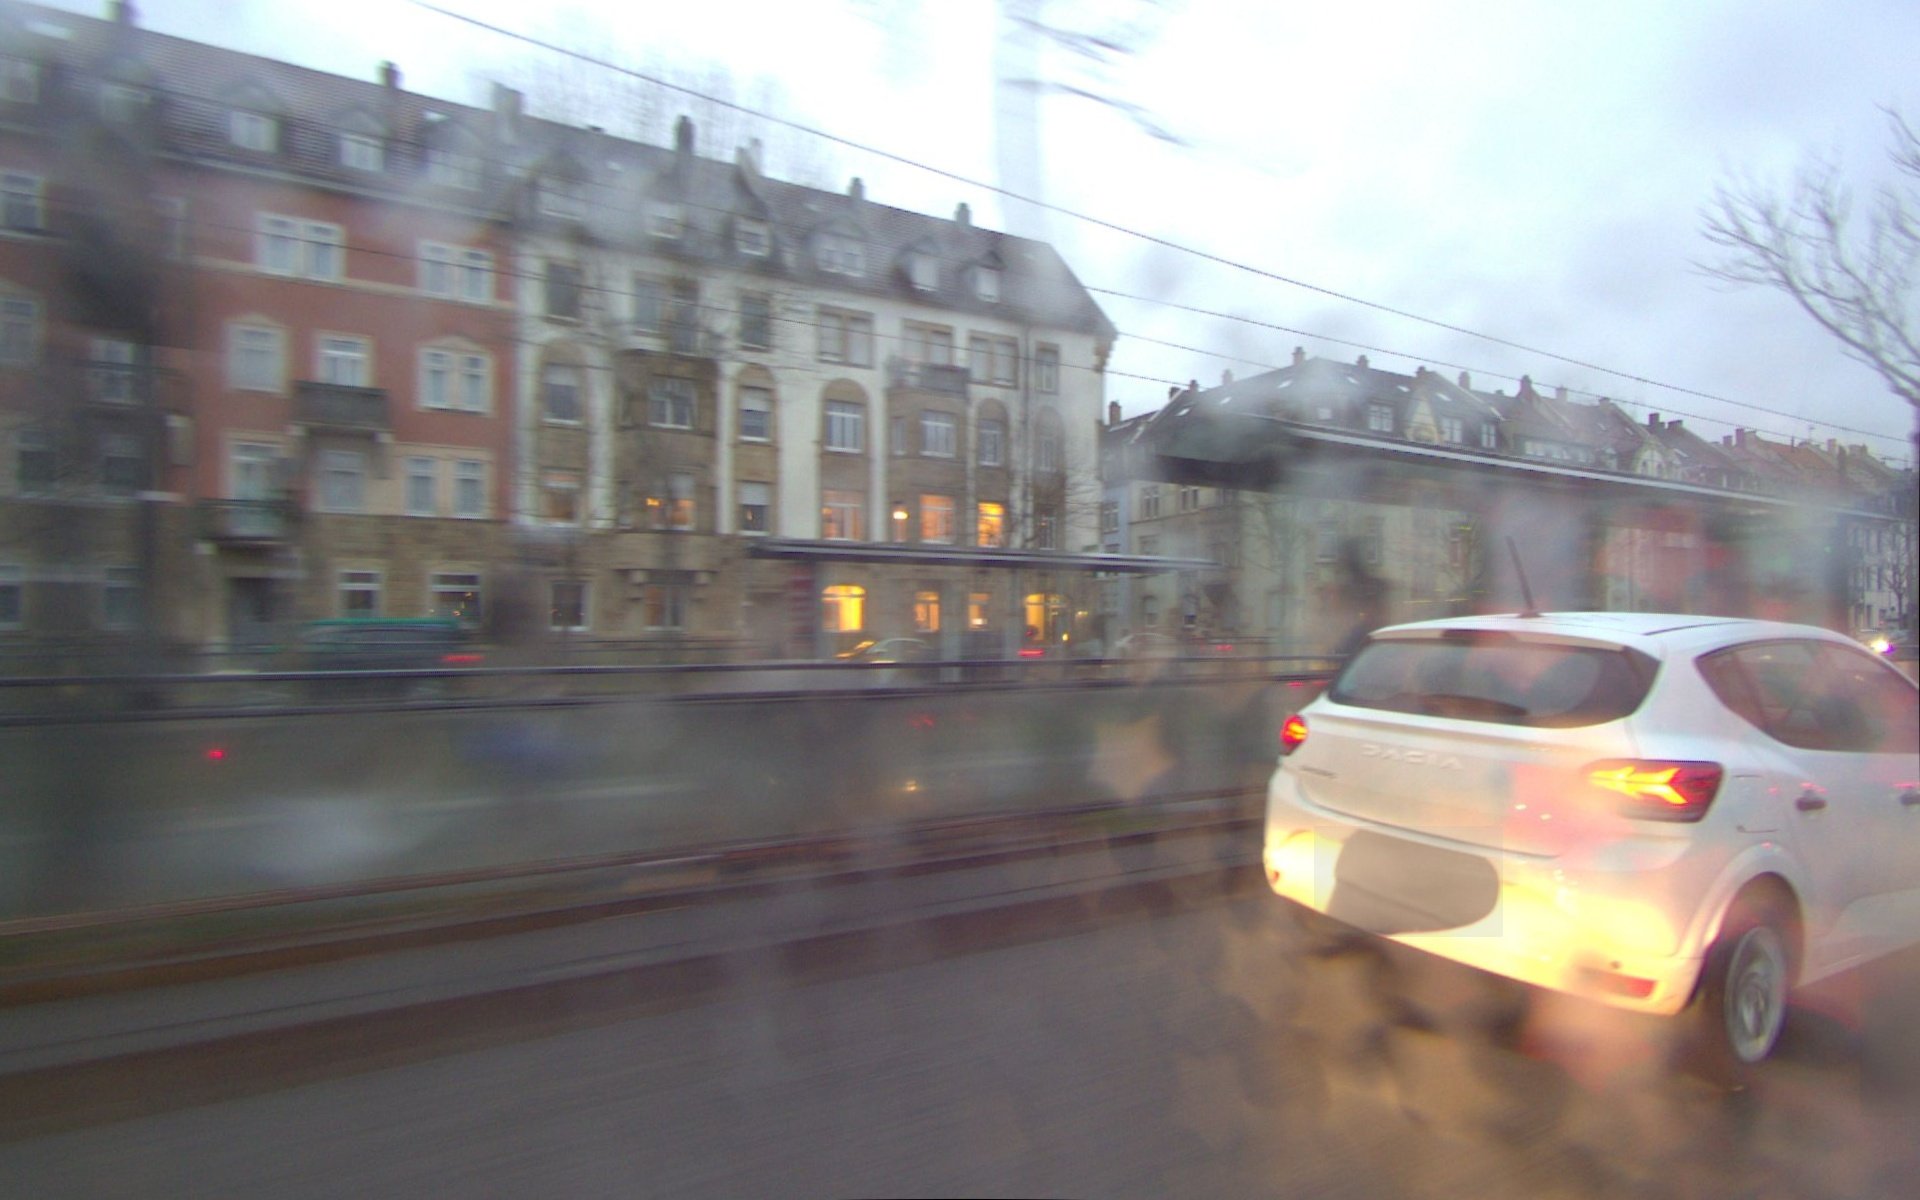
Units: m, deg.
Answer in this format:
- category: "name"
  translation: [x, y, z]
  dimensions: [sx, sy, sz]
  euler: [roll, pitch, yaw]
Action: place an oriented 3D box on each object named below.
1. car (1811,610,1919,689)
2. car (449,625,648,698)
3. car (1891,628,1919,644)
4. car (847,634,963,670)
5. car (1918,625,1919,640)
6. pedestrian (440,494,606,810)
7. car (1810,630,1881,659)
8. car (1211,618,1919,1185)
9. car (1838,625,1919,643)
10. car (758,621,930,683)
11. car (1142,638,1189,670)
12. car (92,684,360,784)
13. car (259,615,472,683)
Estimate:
- category: "car"
  translation: [23.500, 1.218, 25.244]
  dimensions: [3.953, 1.847, 1.985]
  euler: [1, -3, -30]
- category: "car"
  translation: [-9.148, 1.315, 22.348]
  dimensions: [3.950, 1.461, 1.986]
  euler: [1, -2, -28]
- category: "car"
  translation: [69.351, 2.581, 71.829]
  dimensions: [1.626, 1.171, 3.765]
  euler: [0, -2, -24]
- category: "car"
  translation: [-1.752, 1.644, 32.226]
  dimensions: [3.377, 1.084, 1.647]
  euler: [1, -2, -30]
- category: "car"
  translation: [74.459, 2.419, 75.107]
  dimensions: [1.626, 1.171, 3.765]
  euler: [0, -2, -24]
- category: "pedestrian"
  translation: [-2.473, 0.274, 5.665]
  dimensions: [0.739, 1.628, 0.706]
  euler: [1, 0, -33]
- category: "car"
  translation: [45.868, 2.302, 51.994]
  dimensions: [3.722, 1.416, 1.647]
  euler: [1, -2, -30]
- category: "car"
  translation: [3.160, 0.850, 4.376]
  dimensions: [3.950, 1.506, 1.620]
  euler: [0, -2, -28]
- category: "car"
  translation: [62.820, 2.362, 68.785]
  dimensions: [1.626, 1.171, 3.765]
  euler: [0, -2, -24]
- category: "car"
  translation: [-2.975, 1.292, 25.743]
  dimensions: [3.950, 1.461, 1.986]
  euler: [1, -2, -28]
- category: "car"
  translation: [7.411, 1.947, 36.410]
  dimensions: [1.551, 1.084, 3.420]
  euler: [-1, -2, 10]
- category: "car"
  translation: [-14.112, 2.523, 19.643]
  dimensions: [3.950, 1.572, 1.986]
  euler: [1, -2, -28]
- category: "car"
  translation: [-14.718, 1.184, 25.108]
  dimensions: [4.415, 1.557, 1.832]
  euler: [1, -1, -30]
